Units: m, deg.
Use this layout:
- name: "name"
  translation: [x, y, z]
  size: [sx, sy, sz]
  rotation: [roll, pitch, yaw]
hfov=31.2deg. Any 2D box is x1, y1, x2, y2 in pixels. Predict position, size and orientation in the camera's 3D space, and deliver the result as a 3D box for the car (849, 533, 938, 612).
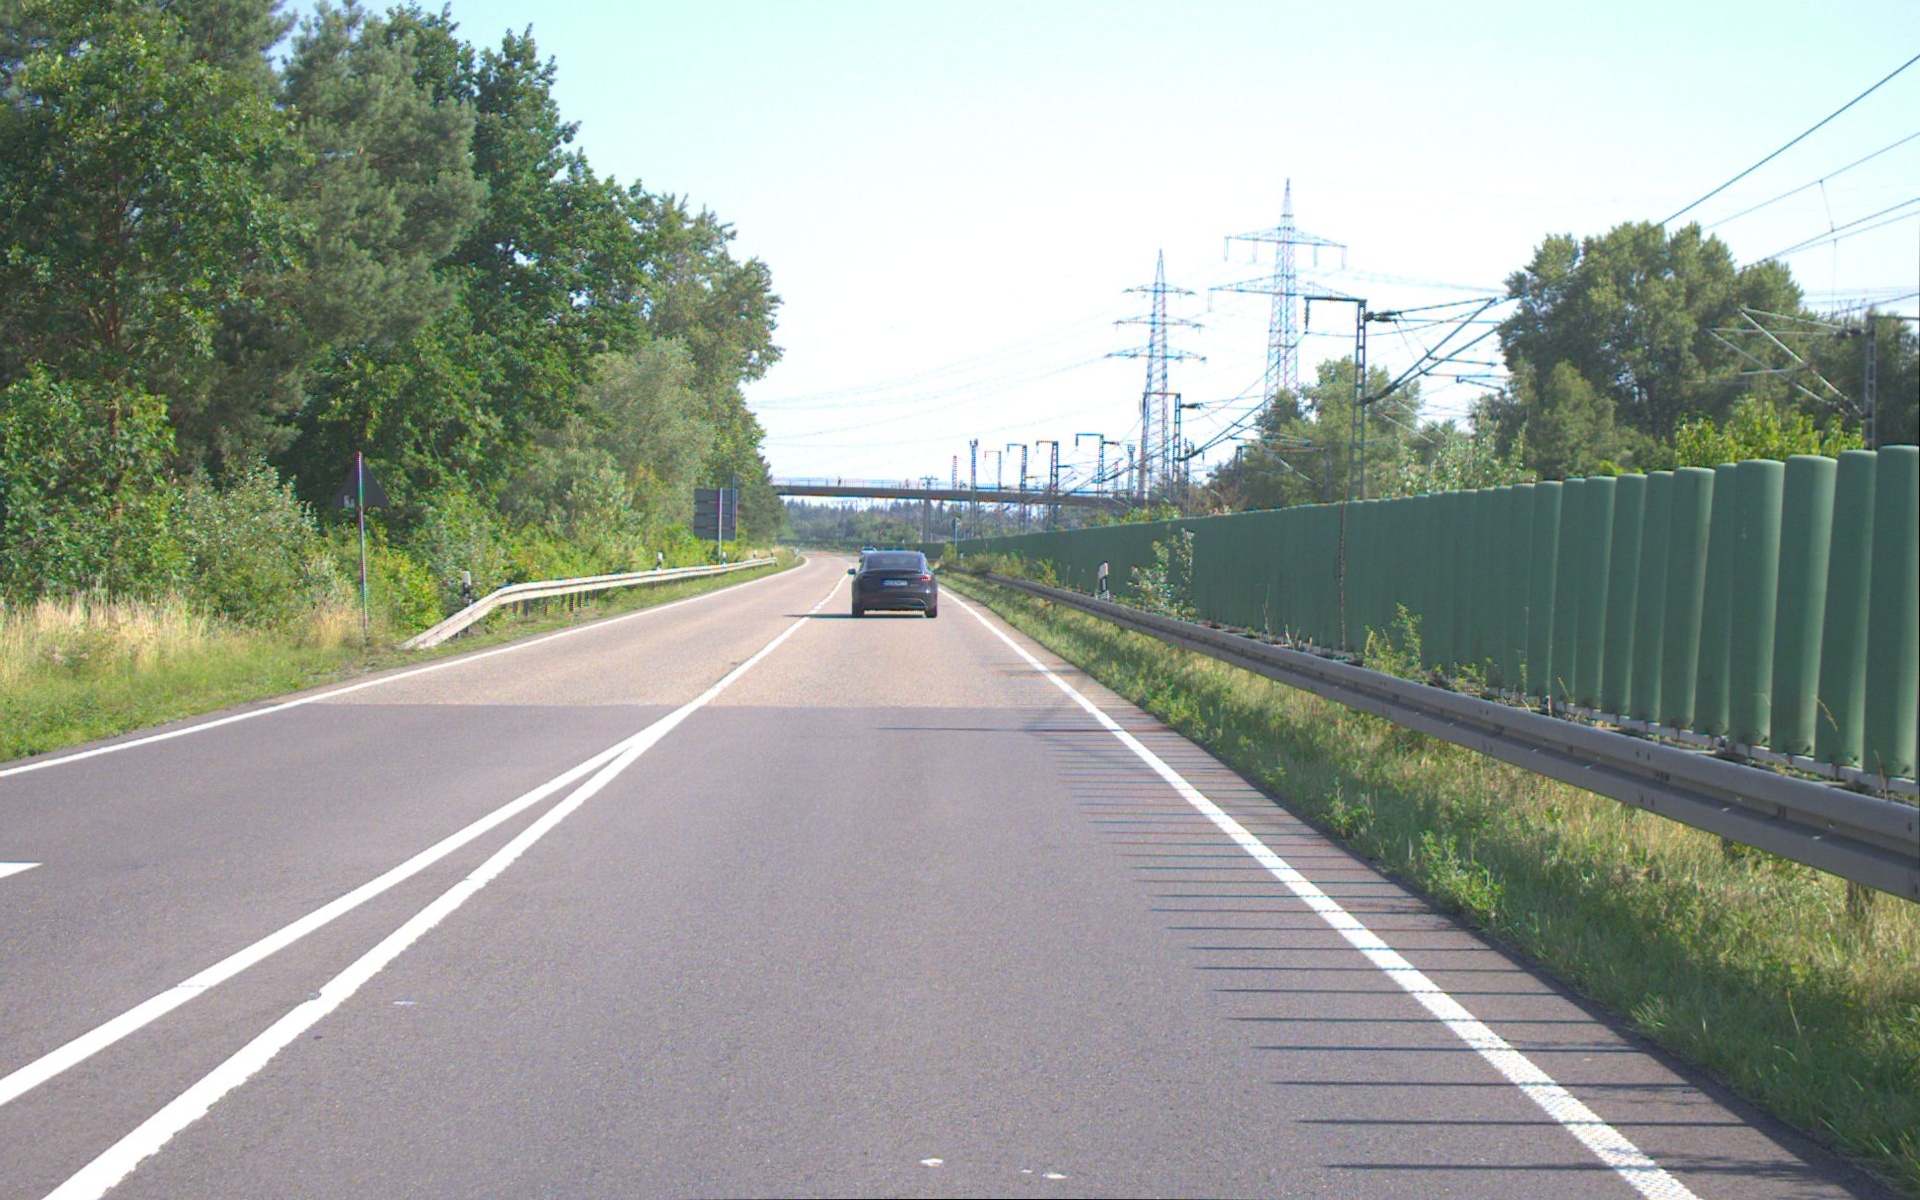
- name: "car"
  translation: [-1.470, -0.616, 74.583]
  size: [1.858, 1.636, 4.001]
  rotation: [1, 1, -2]
